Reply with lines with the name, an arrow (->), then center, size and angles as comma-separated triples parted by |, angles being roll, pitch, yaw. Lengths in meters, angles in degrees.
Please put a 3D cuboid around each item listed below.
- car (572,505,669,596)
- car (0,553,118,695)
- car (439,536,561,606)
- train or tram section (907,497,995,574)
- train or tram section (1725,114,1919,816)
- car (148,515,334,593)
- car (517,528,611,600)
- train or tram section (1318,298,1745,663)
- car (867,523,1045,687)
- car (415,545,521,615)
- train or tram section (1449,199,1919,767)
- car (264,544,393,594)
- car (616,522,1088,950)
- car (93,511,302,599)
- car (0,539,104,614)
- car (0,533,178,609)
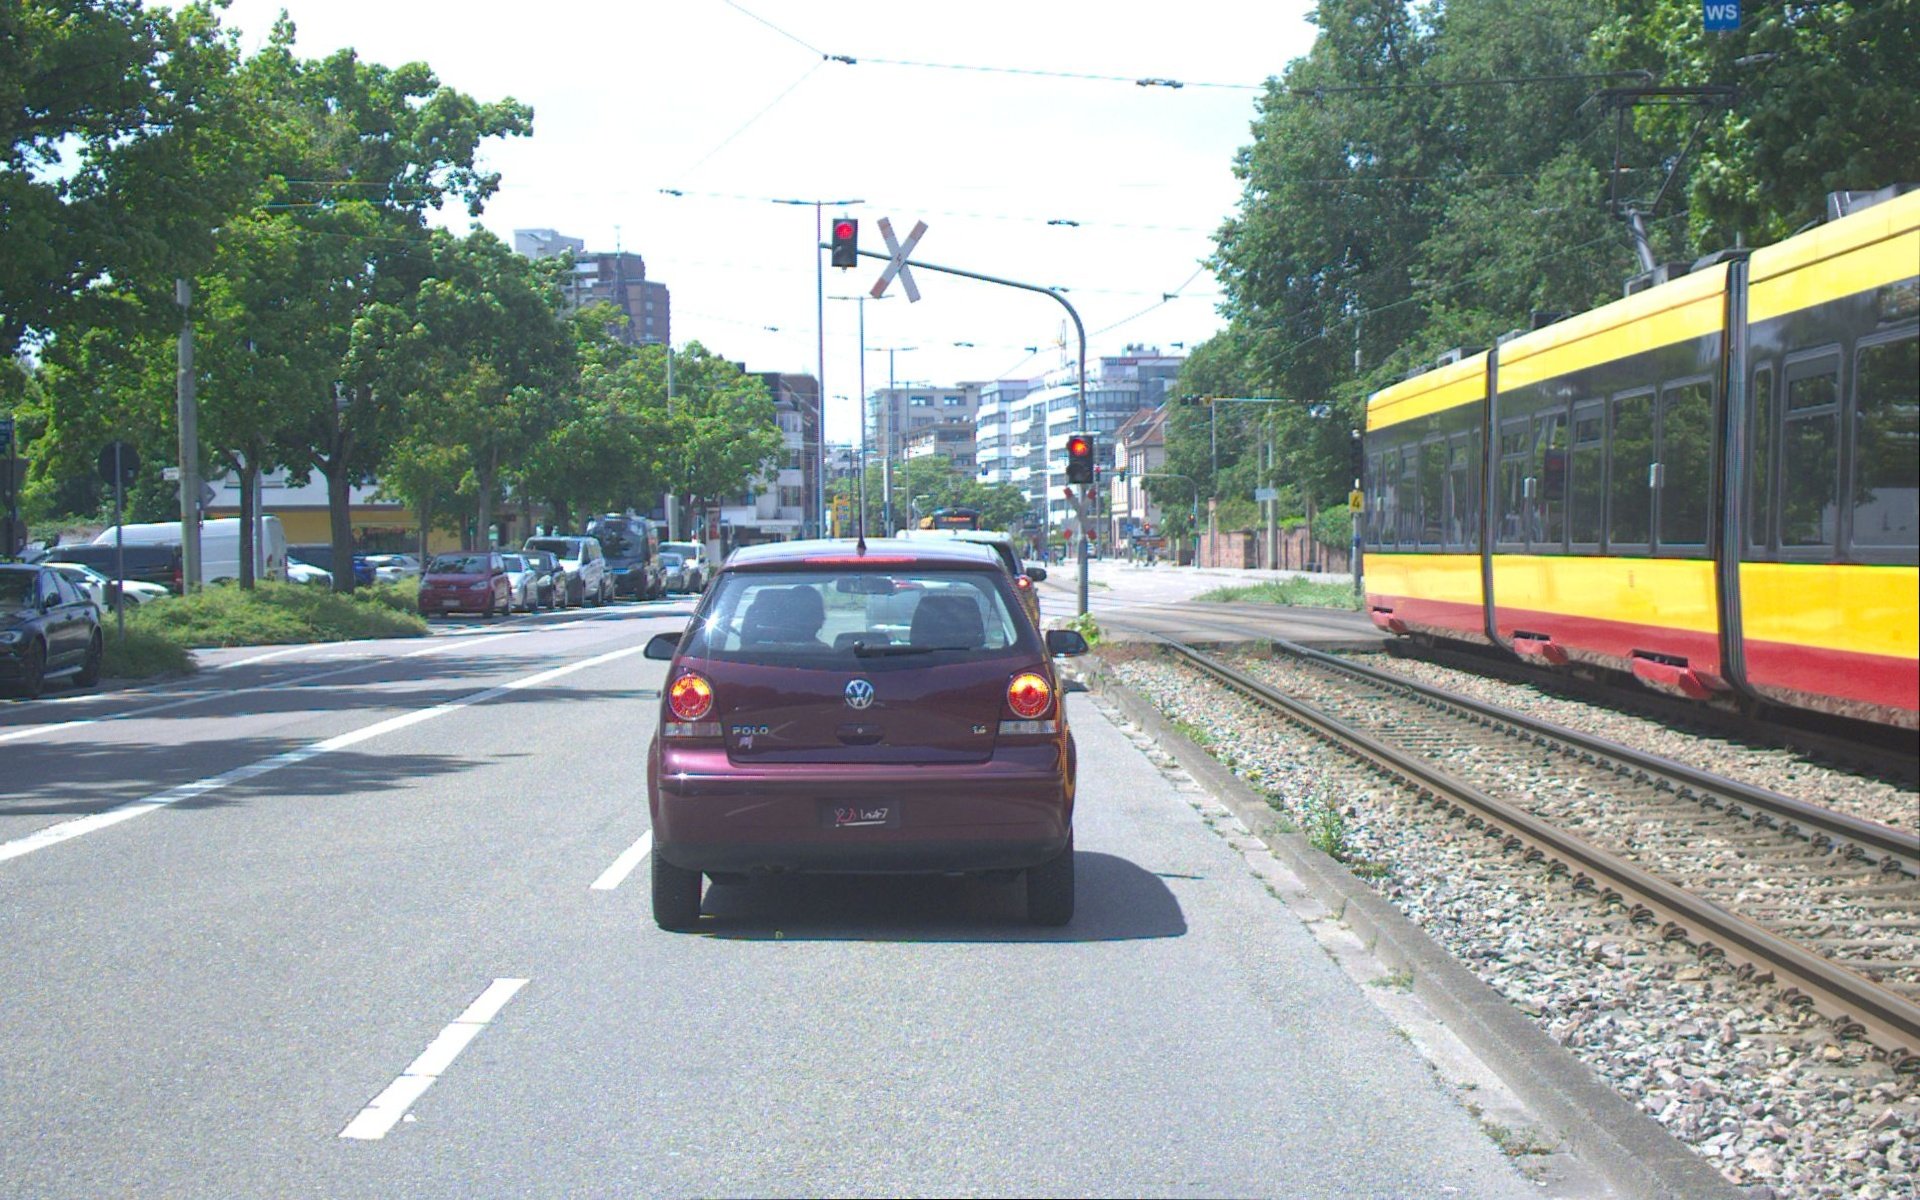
car -> -10.496, -1.498, 106.537 | 2.361, 2.683, 5.307 | 1, 0, 1
car -> -10.981, 0.219, 38.966 | 1.818, 1.471, 4.449 | 1, 1, -1
car -> -11.103, -0.687, 83.263 | 1.976, 1.595, 4.557 | 1, 0, 4
train or tram section -> -0.528, -3.215, 170.237 | 2.740, 3.597, 12.873 | 1, 1, -7
train or tram section -> 6.707, -0.701, 16.550 | 3.028, 3.785, 13.090 | -1, 1, 0
car -> -21.857, -1.395, 104.626 | 5.097, 2.237, 2.378 | 1, 0, 1
car -> -10.735, -0.961, 93.499 | 1.783, 1.875, 4.785 | 1, 0, 3
train or tram section -> 6.647, -1.372, 42.361 | 3.028, 3.785, 12.761 | -1, 1, 0
car -> -0.083, 0.014, 36.911 | 1.777, 1.641, 4.000 | 1, 1, -1
car -> -10.951, -0.448, 76.715 | 1.663, 1.491, 4.000 | 1, 0, 2
train or tram section -> 6.713, -0.919, 29.565 | 3.028, 3.785, 13.090 | -1, 1, 0
car -> -21.501, -1.047, 117.177 | 4.020, 1.611, 1.816 | 1, 0, 1
car -> -0.426, 0.453, 14.374 | 1.672, 1.516, 4.000 | 1, 1, -1
car -> -20.686, -1.221, 93.447 | 5.097, 2.237, 2.378 | 1, 0, 1
car -> -21.091, -0.491, 74.833 | 4.344, 1.579, 1.912 | -1, 1, 6
car -> -21.084, -0.706, 82.854 | 3.987, 1.740, 1.998 | -1, 1, -1
